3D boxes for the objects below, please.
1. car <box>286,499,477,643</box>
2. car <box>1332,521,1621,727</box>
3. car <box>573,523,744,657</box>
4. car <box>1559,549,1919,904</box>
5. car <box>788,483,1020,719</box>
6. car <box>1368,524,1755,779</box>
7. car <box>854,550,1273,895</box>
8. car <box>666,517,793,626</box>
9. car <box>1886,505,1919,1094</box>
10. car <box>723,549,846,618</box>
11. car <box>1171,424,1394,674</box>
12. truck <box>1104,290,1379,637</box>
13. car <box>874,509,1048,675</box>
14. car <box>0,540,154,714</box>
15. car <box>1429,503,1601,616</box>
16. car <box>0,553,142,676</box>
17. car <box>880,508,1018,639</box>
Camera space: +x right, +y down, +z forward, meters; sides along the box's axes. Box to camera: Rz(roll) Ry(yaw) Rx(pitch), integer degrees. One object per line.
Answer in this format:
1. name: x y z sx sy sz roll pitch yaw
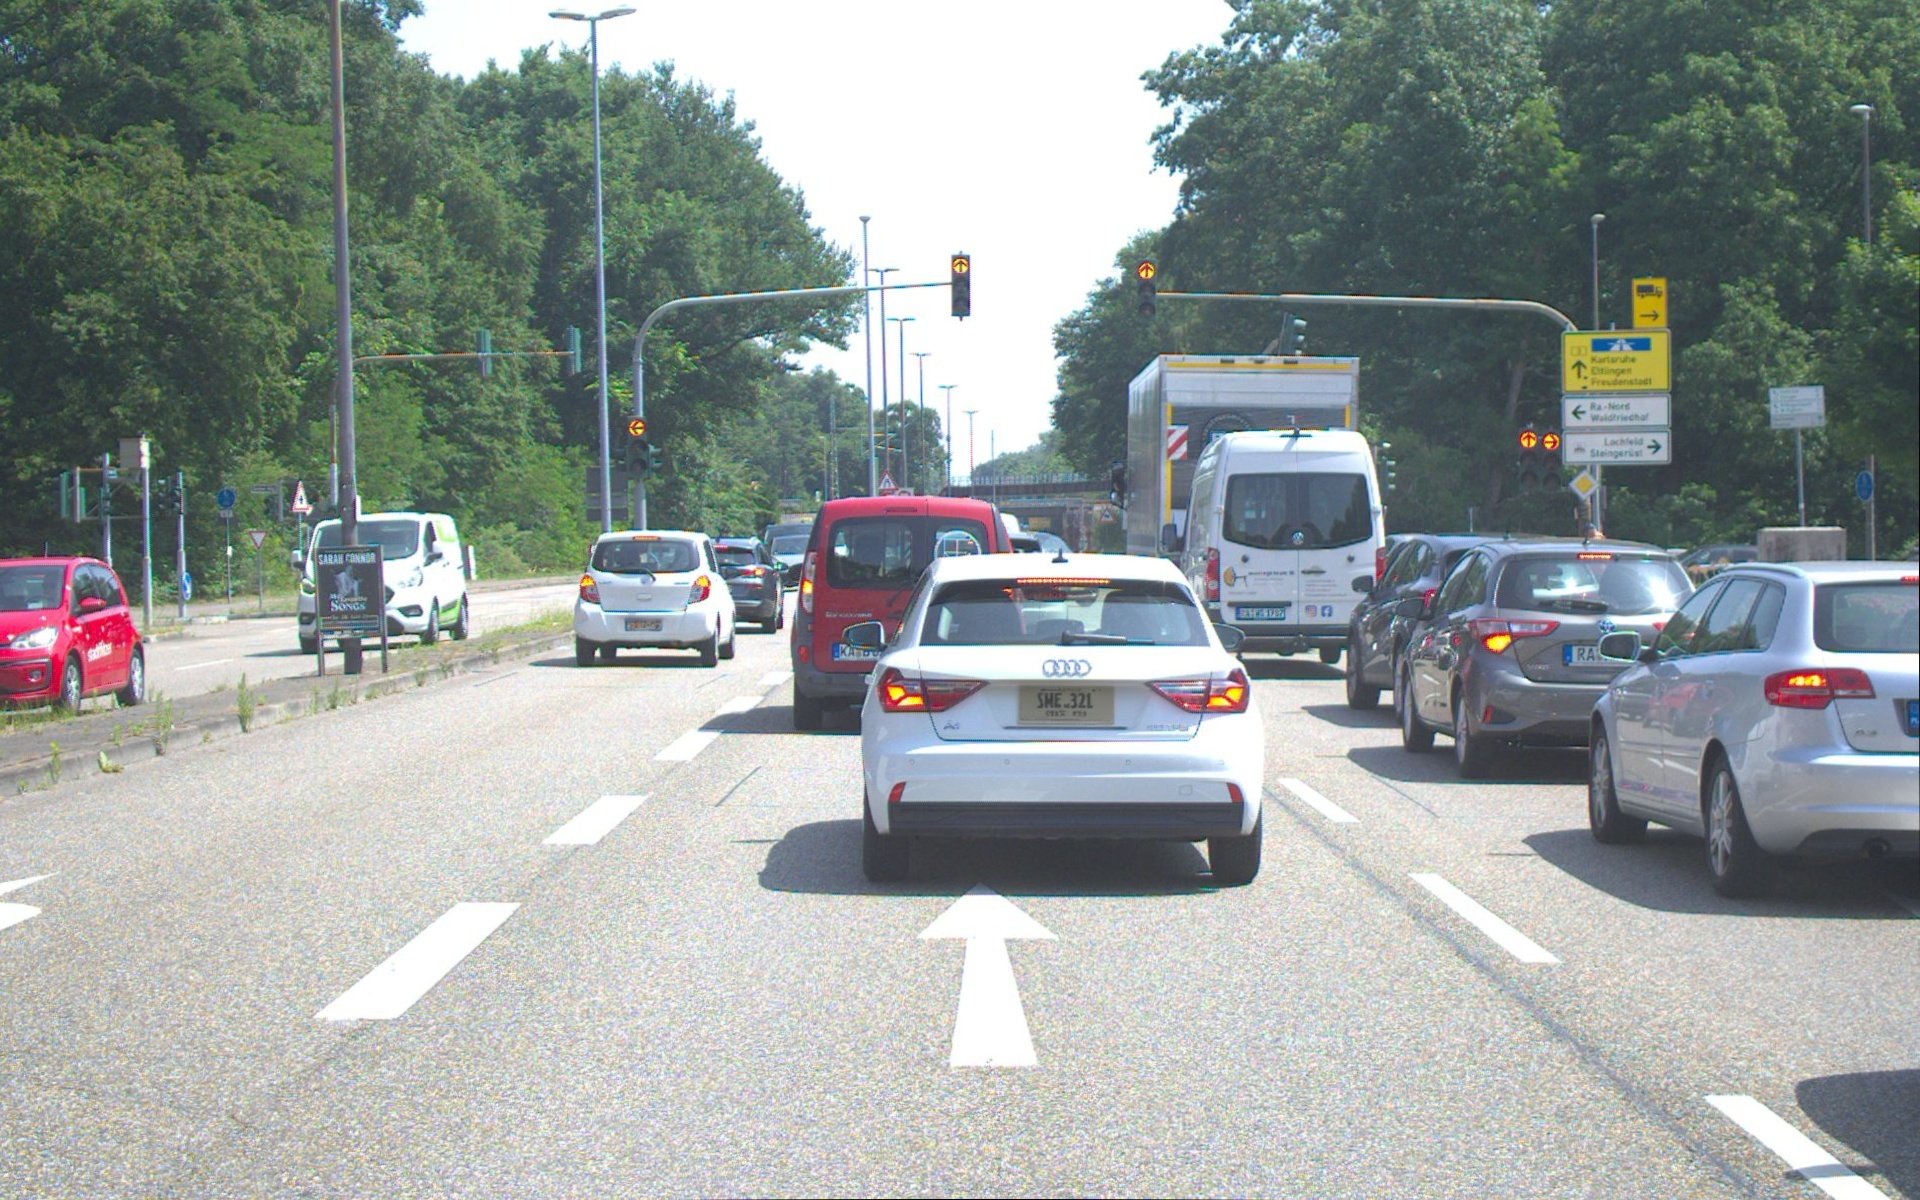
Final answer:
1. car: -8.560 -0.468 51.284 1.993 1.939 4.909 -3 1 -1
2. car: 4.217 0.143 28.625 1.712 1.587 4.092 0 1 -1
3. car: -3.482 -0.154 40.283 1.712 1.487 4.092 0 1 -1
4. car: 3.965 0.475 15.509 1.712 1.357 4.092 1 1 -1
5. car: -0.453 -0.035 27.473 1.712 1.742 4.092 0 1 -1
6. car: 3.880 0.269 22.844 1.712 1.473 4.092 3 1 -1
7. car: 0.382 0.471 16.071 1.712 1.381 4.092 0 1 -1
8. car: -3.542 -0.470 53.302 1.774 1.635 4.037 0 1 -1
9. car: 3.518 0.578 7.398 1.837 1.590 4.400 0 1 0
10. car: -4.580 -0.444 89.193 1.872 1.683 4.001 -2 1 -24
11. car: 3.551 -0.585 38.694 2.031 2.635 4.845 0 1 0
12. truck: 3.857 -1.874 49.888 3.088 4.418 11.580 0 1 0
13. car: -0.027 -0.122 35.876 1.712 1.626 4.092 0 1 -1
14. car: -8.491 0.222 31.025 1.580 1.436 3.609 -3 1 -1
15. car: 7.851 -0.592 48.976 1.712 1.541 4.092 0 1 -1
16. car: -11.974 0.182 44.553 1.705 1.447 3.891 -4 1 0
17. car: -0.170 -0.369 44.686 1.712 1.626 4.092 0 1 -1
